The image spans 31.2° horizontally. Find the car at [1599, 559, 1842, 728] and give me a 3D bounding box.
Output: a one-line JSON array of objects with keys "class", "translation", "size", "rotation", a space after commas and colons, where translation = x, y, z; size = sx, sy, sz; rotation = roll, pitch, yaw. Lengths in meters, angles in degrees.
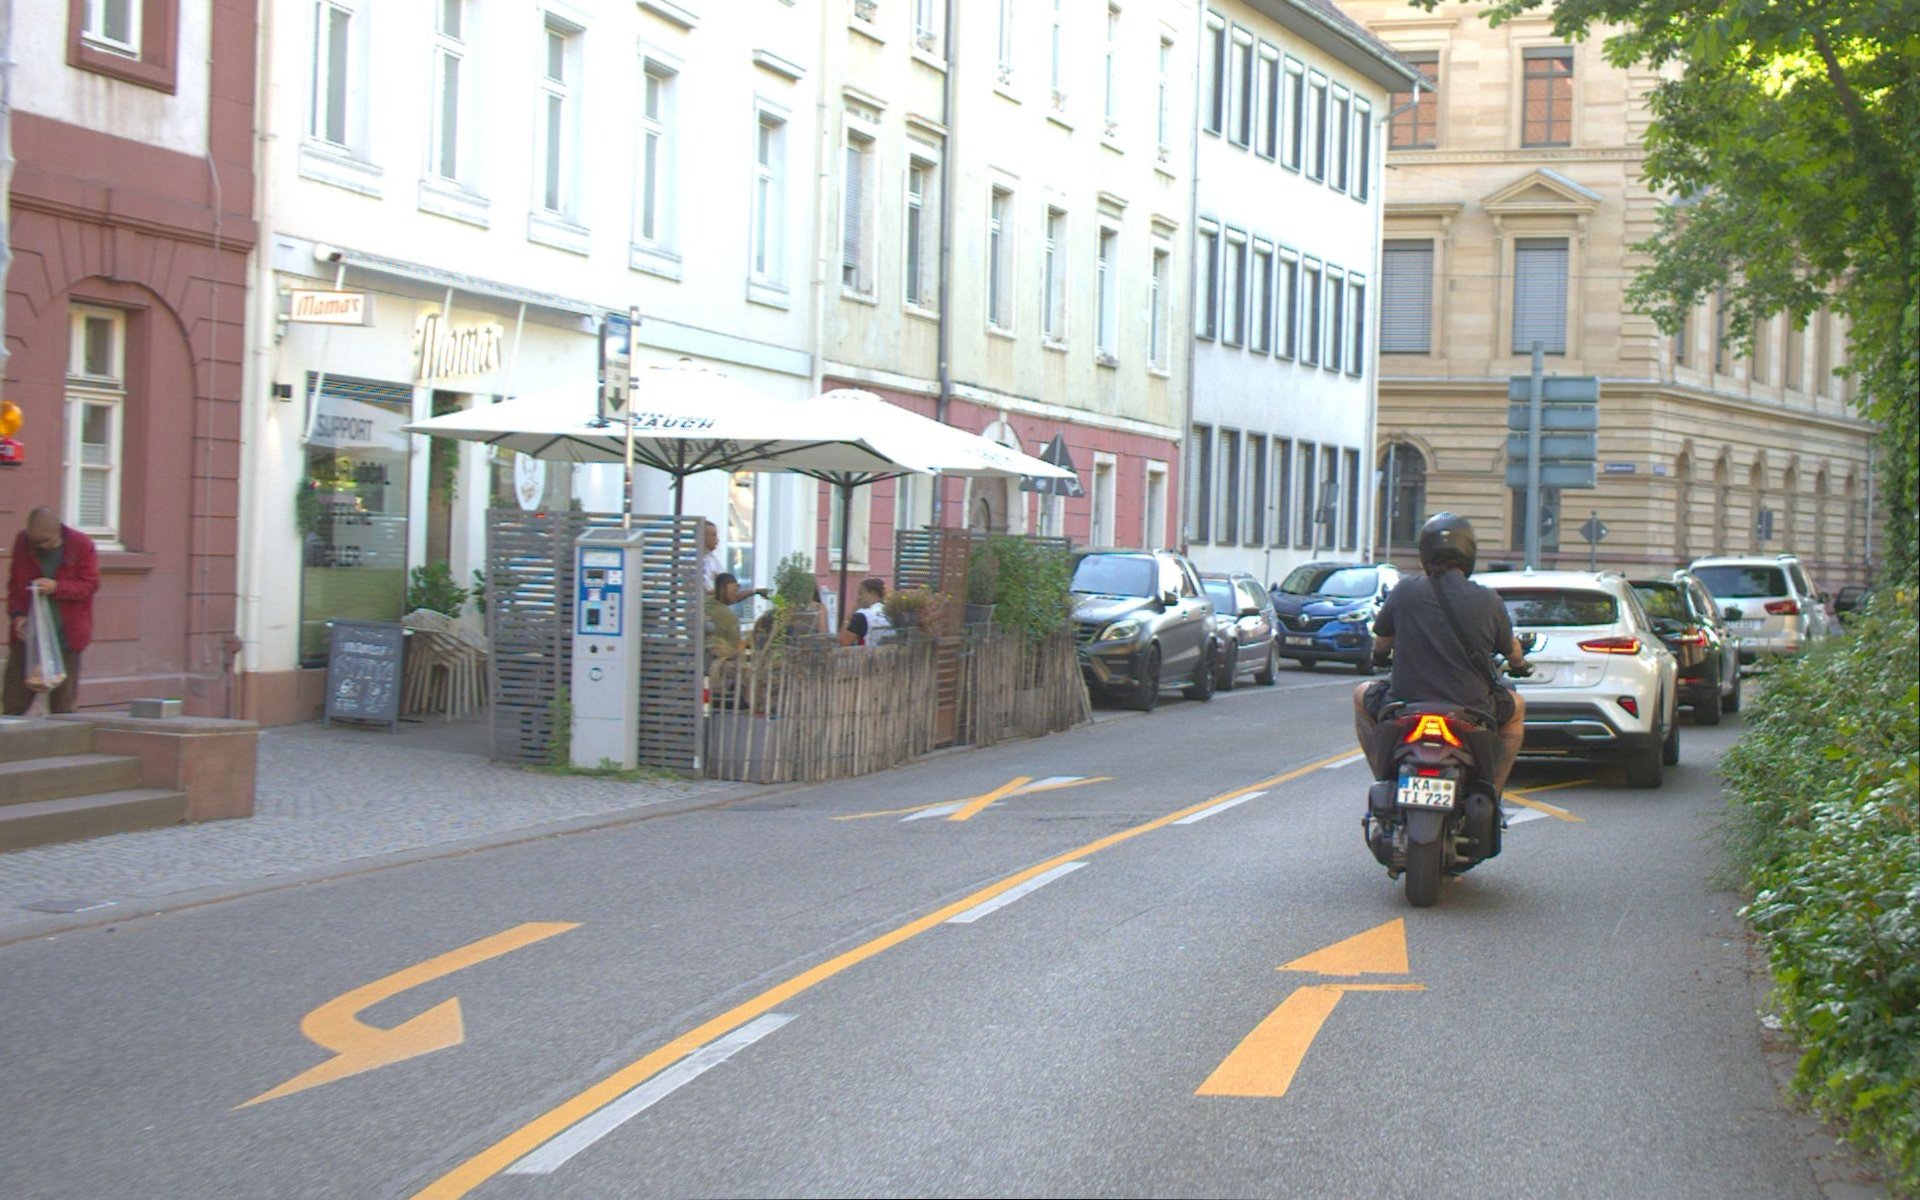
[{"class": "car", "translation": [7.505, 0.388, 33.660], "size": [1.842, 1.458, 4.054], "rotation": [3, 1, 18]}]

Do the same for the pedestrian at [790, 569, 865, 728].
[{"class": "pedestrian", "translation": [-1.175, 0.423, 30.470], "size": [0.523, 1.386, 0.488], "rotation": [2, 1, 11]}]

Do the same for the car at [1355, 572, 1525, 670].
[{"class": "car", "translation": [8.121, 0.320, 57.842], "size": [1.825, 1.498, 4.755], "rotation": [3, 1, 20]}]

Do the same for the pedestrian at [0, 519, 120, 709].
[{"class": "pedestrian", "translation": [-5.211, 0.074, 19.739], "size": [0.537, 1.049, 0.551], "rotation": [3, 1, 10]}]

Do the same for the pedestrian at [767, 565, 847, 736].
[{"class": "pedestrian", "translation": [-1.266, 0.414, 28.501], "size": [0.523, 1.386, 0.488], "rotation": [2, 1, 11]}]

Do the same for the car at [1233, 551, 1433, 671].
[{"class": "car", "translation": [5.582, 0.141, 51.052], "size": [1.936, 1.662, 4.342], "rotation": [1, 1, 20]}]

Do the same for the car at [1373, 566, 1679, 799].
[{"class": "car", "translation": [4.146, 0.520, 24.716], "size": [1.852, 1.475, 4.055], "rotation": [2, 1, 13]}]

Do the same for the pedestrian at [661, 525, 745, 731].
[{"class": "pedestrian", "translation": [-2.237, 0.238, 29.971], "size": [0.438, 1.769, 0.596], "rotation": [2, 1, 27]}]

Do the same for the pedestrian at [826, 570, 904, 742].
[{"class": "pedestrian", "translation": [-0.808, 0.470, 29.206], "size": [0.471, 1.428, 0.501], "rotation": [2, 1, 19]}]

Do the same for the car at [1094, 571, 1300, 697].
[{"class": "car", "translation": [3.041, 0.385, 43.363], "size": [1.654, 1.475, 4.424], "rotation": [1, 1, 16]}]

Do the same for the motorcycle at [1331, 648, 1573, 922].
[{"class": "motorcycle", "translation": [2.171, 0.795, 15.395], "size": [0.796, 1.062, 1.725], "rotation": [3, 1, 0]}]

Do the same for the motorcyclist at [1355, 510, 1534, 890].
[{"class": "motorcyclist", "translation": [2.172, 0.436, 15.477], "size": [0.657, 1.645, 0.650], "rotation": [3, 1, 2]}]

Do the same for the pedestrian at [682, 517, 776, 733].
[{"class": "pedestrian", "translation": [-1.920, 0.202, 28.618], "size": [0.596, 1.769, 0.438], "rotation": [2, 1, 23]}]

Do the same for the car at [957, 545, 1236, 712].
[{"class": "car", "translation": [1.578, 0.269, 37.681], "size": [1.923, 1.674, 4.781], "rotation": [1, 1, 16]}]
